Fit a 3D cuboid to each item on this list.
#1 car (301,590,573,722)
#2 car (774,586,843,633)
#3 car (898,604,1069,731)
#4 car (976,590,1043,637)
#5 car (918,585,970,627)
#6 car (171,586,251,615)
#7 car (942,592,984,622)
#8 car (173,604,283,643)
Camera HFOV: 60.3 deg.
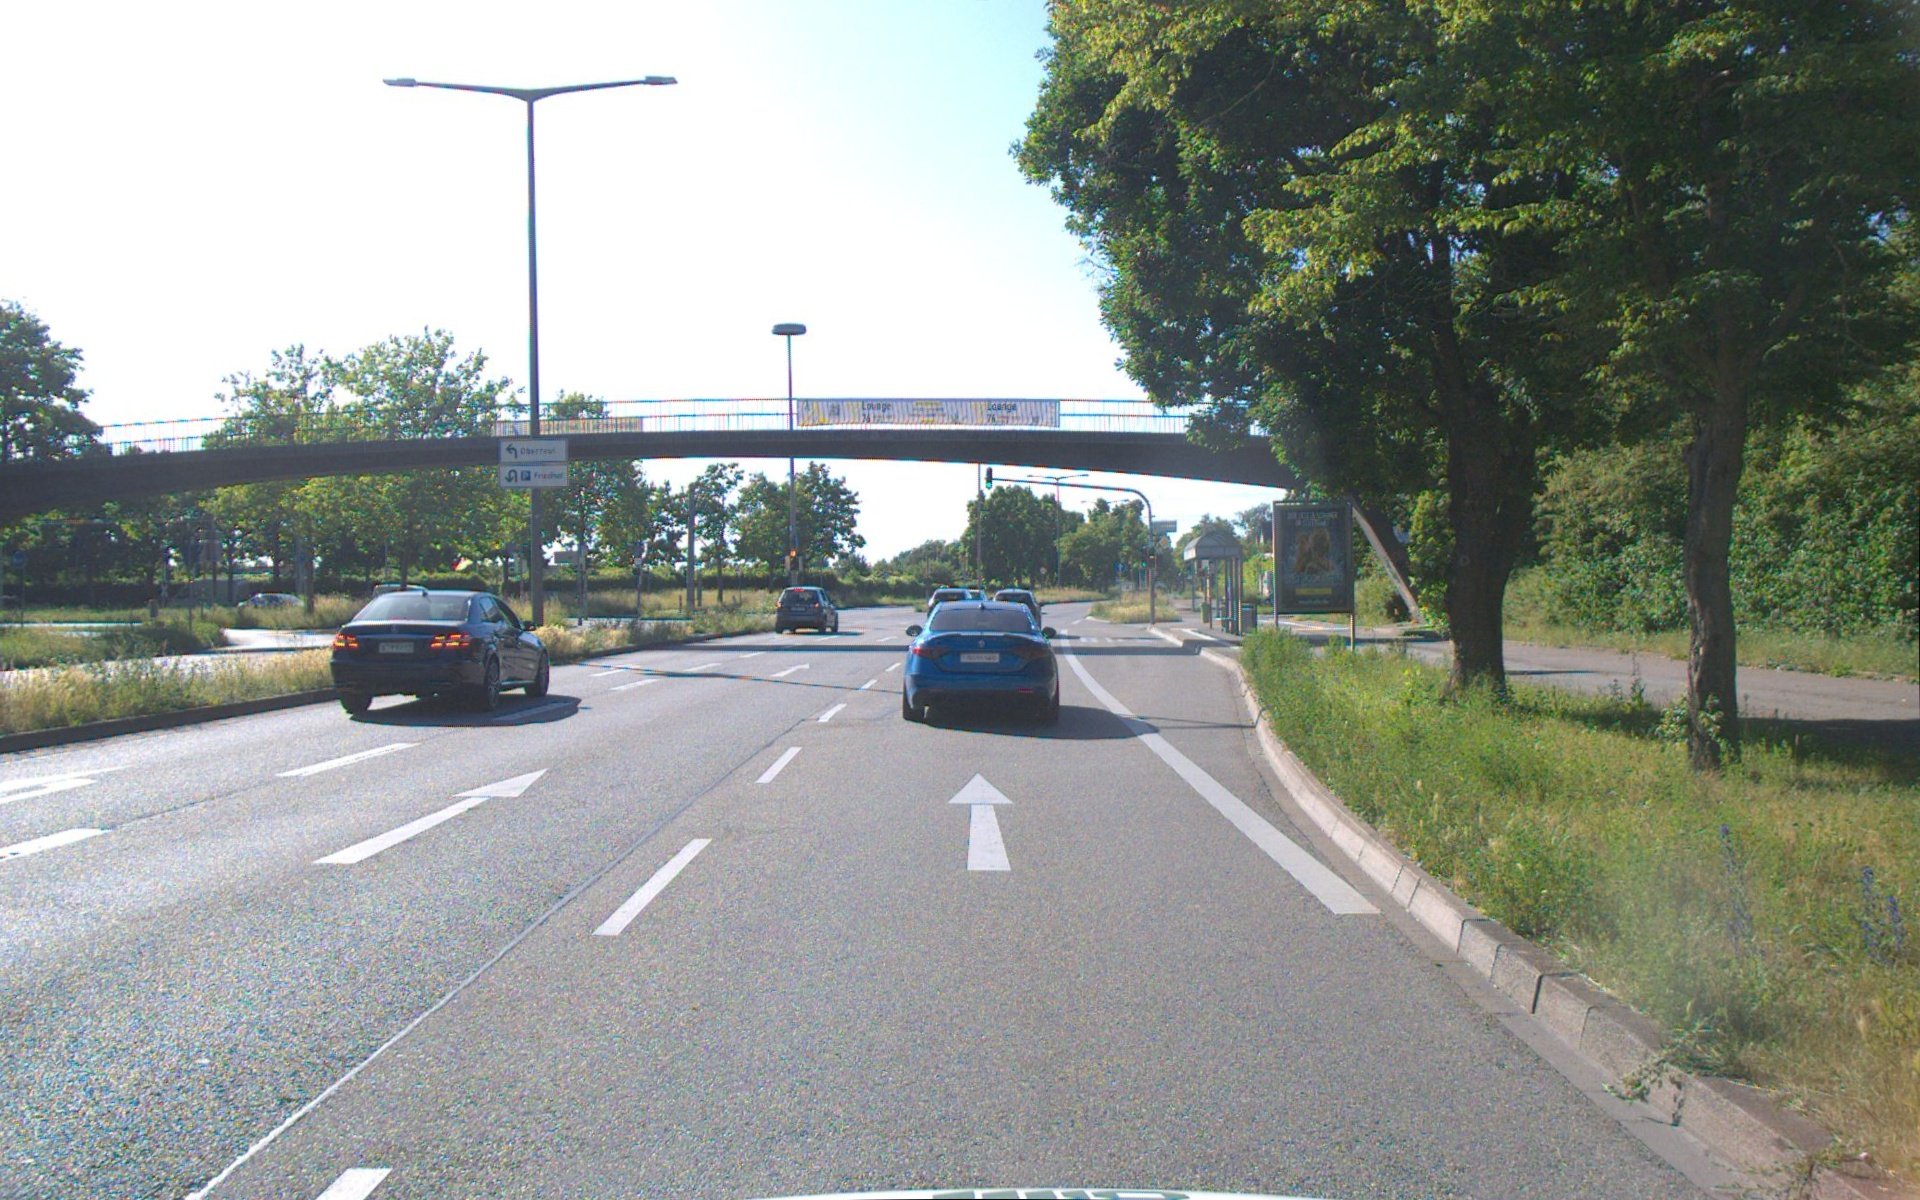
[{"bbox_3d":[-6.653,0.656,21.682,1.918,1.509,4.919,-1,0,1],"label":"car"},{"bbox_3d":[-5.276,0.339,57.949,1.759,1.583,3.732,0,-1,5],"label":"car"},{"bbox_3d":[0.192,0.779,20.832,1.846,1.431,4.220,0,0,-4],"label":"car"},{"bbox_3d":[1.607,0.450,55.140,1.846,1.479,4.523,0,0,-4],"label":"car"},{"bbox_3d":[-0.672,0.254,66.461,1.675,1.626,4.218,0,-1,-6],"label":"car"},{"bbox_3d":[-52.895,0.029,116.852,4.688,2.049,1.999,0,-1,-1],"label":"car"},{"bbox_3d":[0.121,0.357,83.010,1.846,1.479,4.523,0,0,-4],"label":"car"},{"bbox_3d":[-32.767,1.047,74.056,4.215,1.679,2.001,0,-1,16],"label":"car"}]
